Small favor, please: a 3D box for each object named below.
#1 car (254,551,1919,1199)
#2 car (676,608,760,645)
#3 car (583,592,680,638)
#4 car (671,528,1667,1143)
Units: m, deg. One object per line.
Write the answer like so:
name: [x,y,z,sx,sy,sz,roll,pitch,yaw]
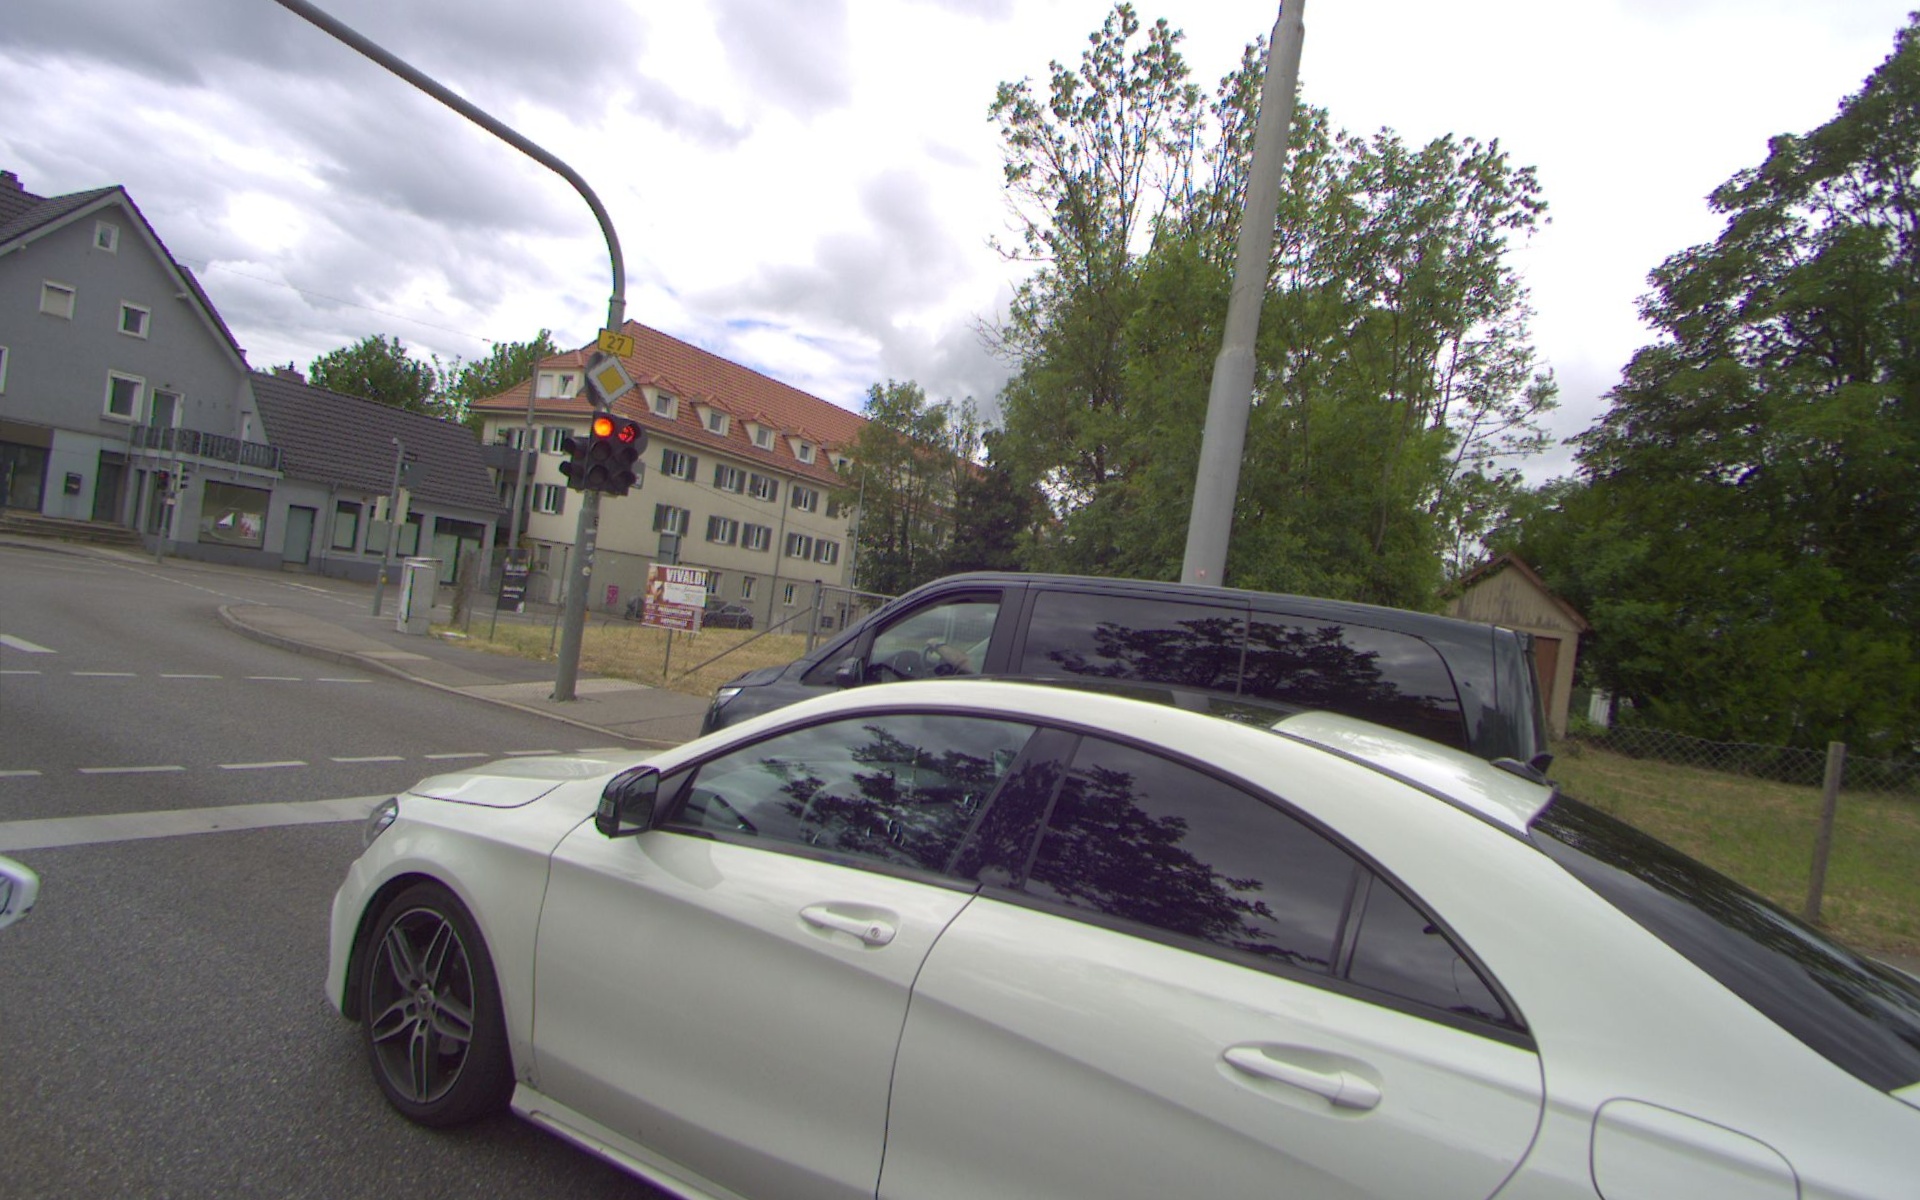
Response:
car: [0.154,0.846,2.644,4.305,1.451,1.651,7,0,32]
car: [-12.627,1.401,52.654,1.839,1.393,3.996,7,-2,32]
car: [-15.522,0.739,47.666,1.839,1.554,3.996,7,-2,32]
car: [0.876,0.834,5.545,4.631,1.860,1.953,7,-2,32]
